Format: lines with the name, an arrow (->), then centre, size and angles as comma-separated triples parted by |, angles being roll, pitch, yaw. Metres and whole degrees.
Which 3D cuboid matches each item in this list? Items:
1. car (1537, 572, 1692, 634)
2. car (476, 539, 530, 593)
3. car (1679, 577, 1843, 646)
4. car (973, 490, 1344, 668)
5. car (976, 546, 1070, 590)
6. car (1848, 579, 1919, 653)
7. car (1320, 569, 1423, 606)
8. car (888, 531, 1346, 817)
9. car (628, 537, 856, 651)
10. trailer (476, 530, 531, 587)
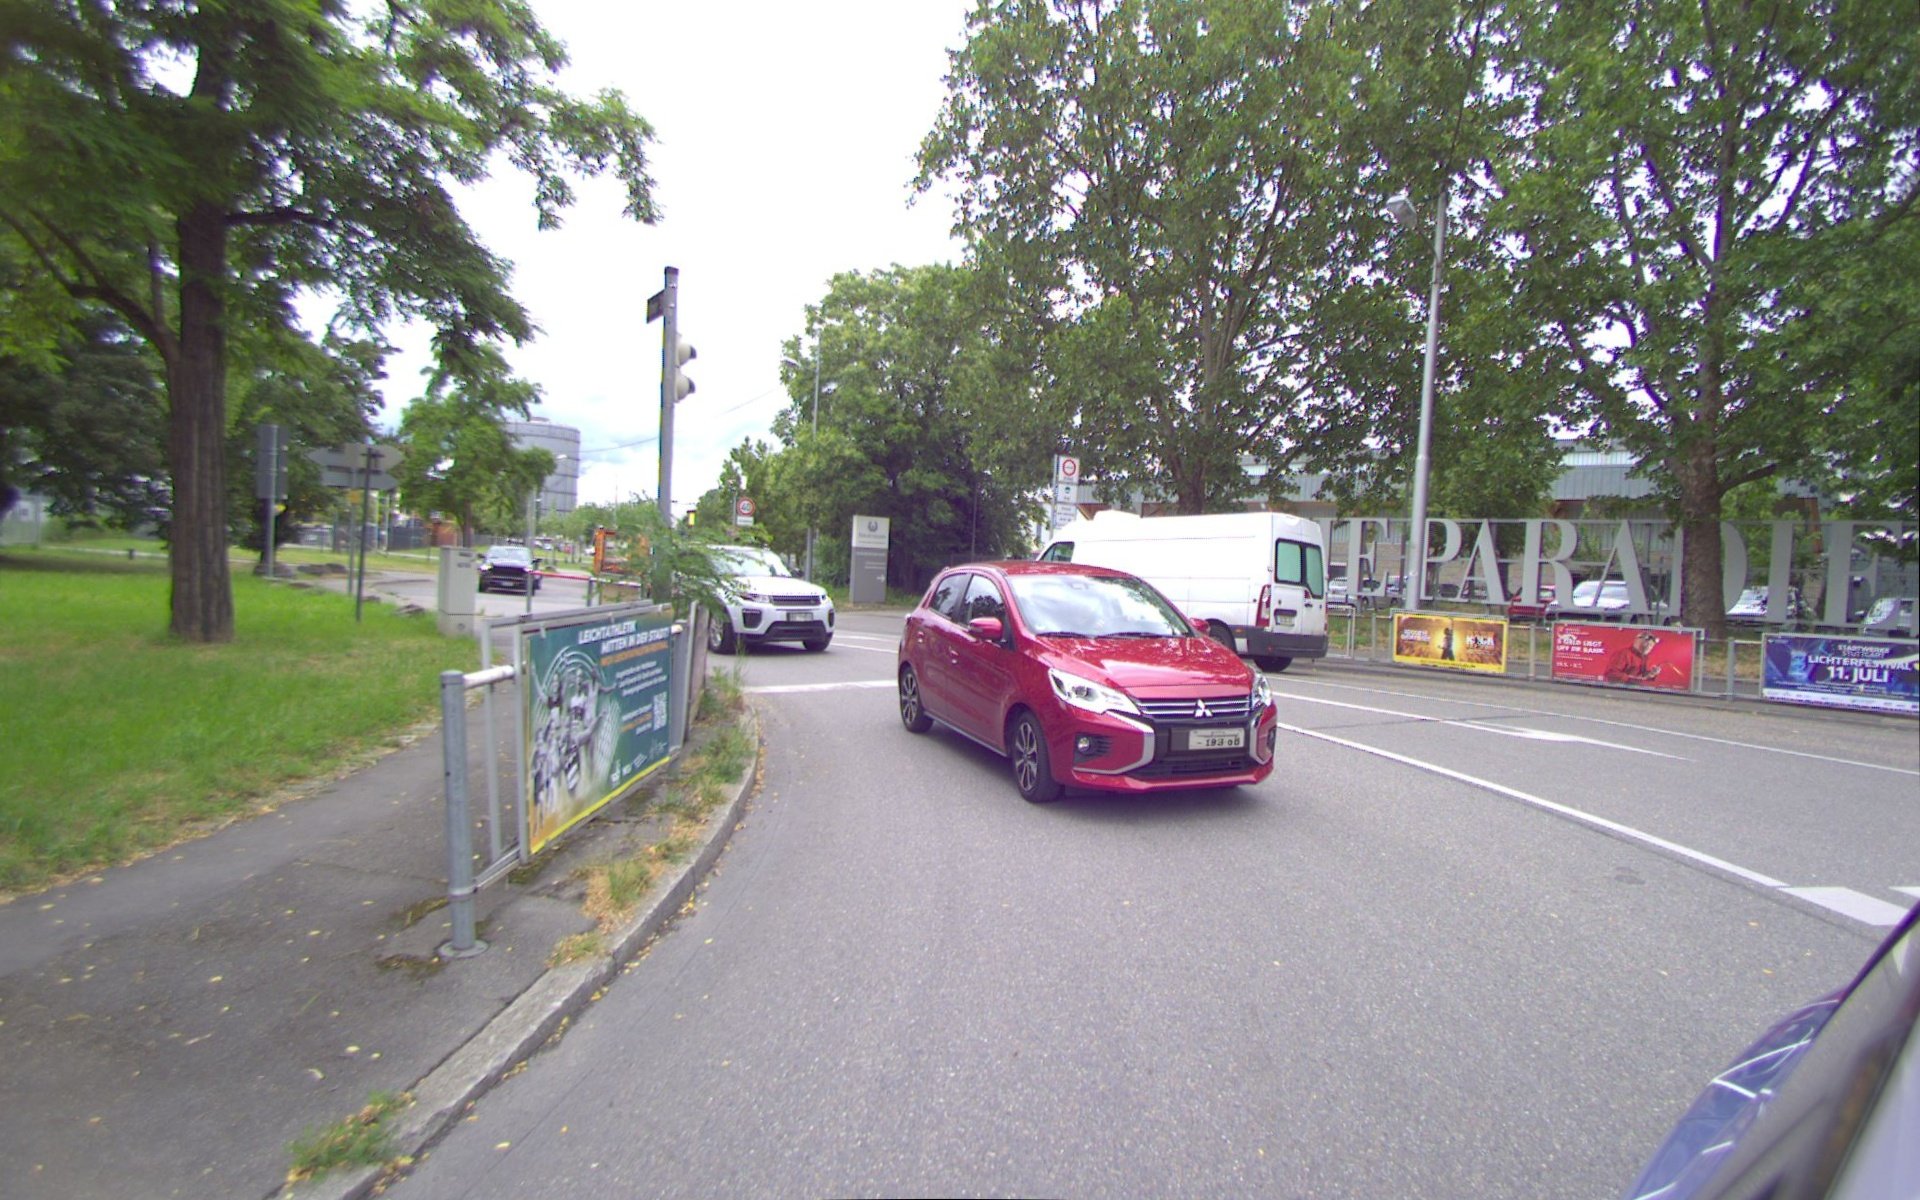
car -> 17.132, 0.046, 26.424 | 4.614, 1.476, 1.999 | -1, 0, -38
car -> -18.845, -1.465, 41.801 | 1.910, 2.003, 5.886 | 1, 4, -24
car -> 18.911, 0.216, 23.829 | 4.614, 1.476, 1.999 | -1, 0, -38
car -> 3.180, -0.326, 17.838 | 2.155, 2.573, 6.472 | 0, 0, -41
car -> 2.649, -1.321, 41.917 | 1.911, 1.595, 3.713 | 5, 3, 43
car -> 21.012, 0.299, 22.061 | 4.620, 1.476, 1.996 | -1, 1, -42
car -> 17.482, -0.529, 42.877 | 5.160, 1.449, 1.935 | -1, 1, -41
car -> 0.833, 0.339, 7.526 | 1.731, 1.549, 3.749 | 1, 2, -20
car -> -3.635, -0.135, 16.388 | 1.883, 1.589, 4.109 | 2, 1, -40
trailer -> -21.127, -1.939, 46.971 | 2.106, 2.416, 5.401 | 2, 2, -23
